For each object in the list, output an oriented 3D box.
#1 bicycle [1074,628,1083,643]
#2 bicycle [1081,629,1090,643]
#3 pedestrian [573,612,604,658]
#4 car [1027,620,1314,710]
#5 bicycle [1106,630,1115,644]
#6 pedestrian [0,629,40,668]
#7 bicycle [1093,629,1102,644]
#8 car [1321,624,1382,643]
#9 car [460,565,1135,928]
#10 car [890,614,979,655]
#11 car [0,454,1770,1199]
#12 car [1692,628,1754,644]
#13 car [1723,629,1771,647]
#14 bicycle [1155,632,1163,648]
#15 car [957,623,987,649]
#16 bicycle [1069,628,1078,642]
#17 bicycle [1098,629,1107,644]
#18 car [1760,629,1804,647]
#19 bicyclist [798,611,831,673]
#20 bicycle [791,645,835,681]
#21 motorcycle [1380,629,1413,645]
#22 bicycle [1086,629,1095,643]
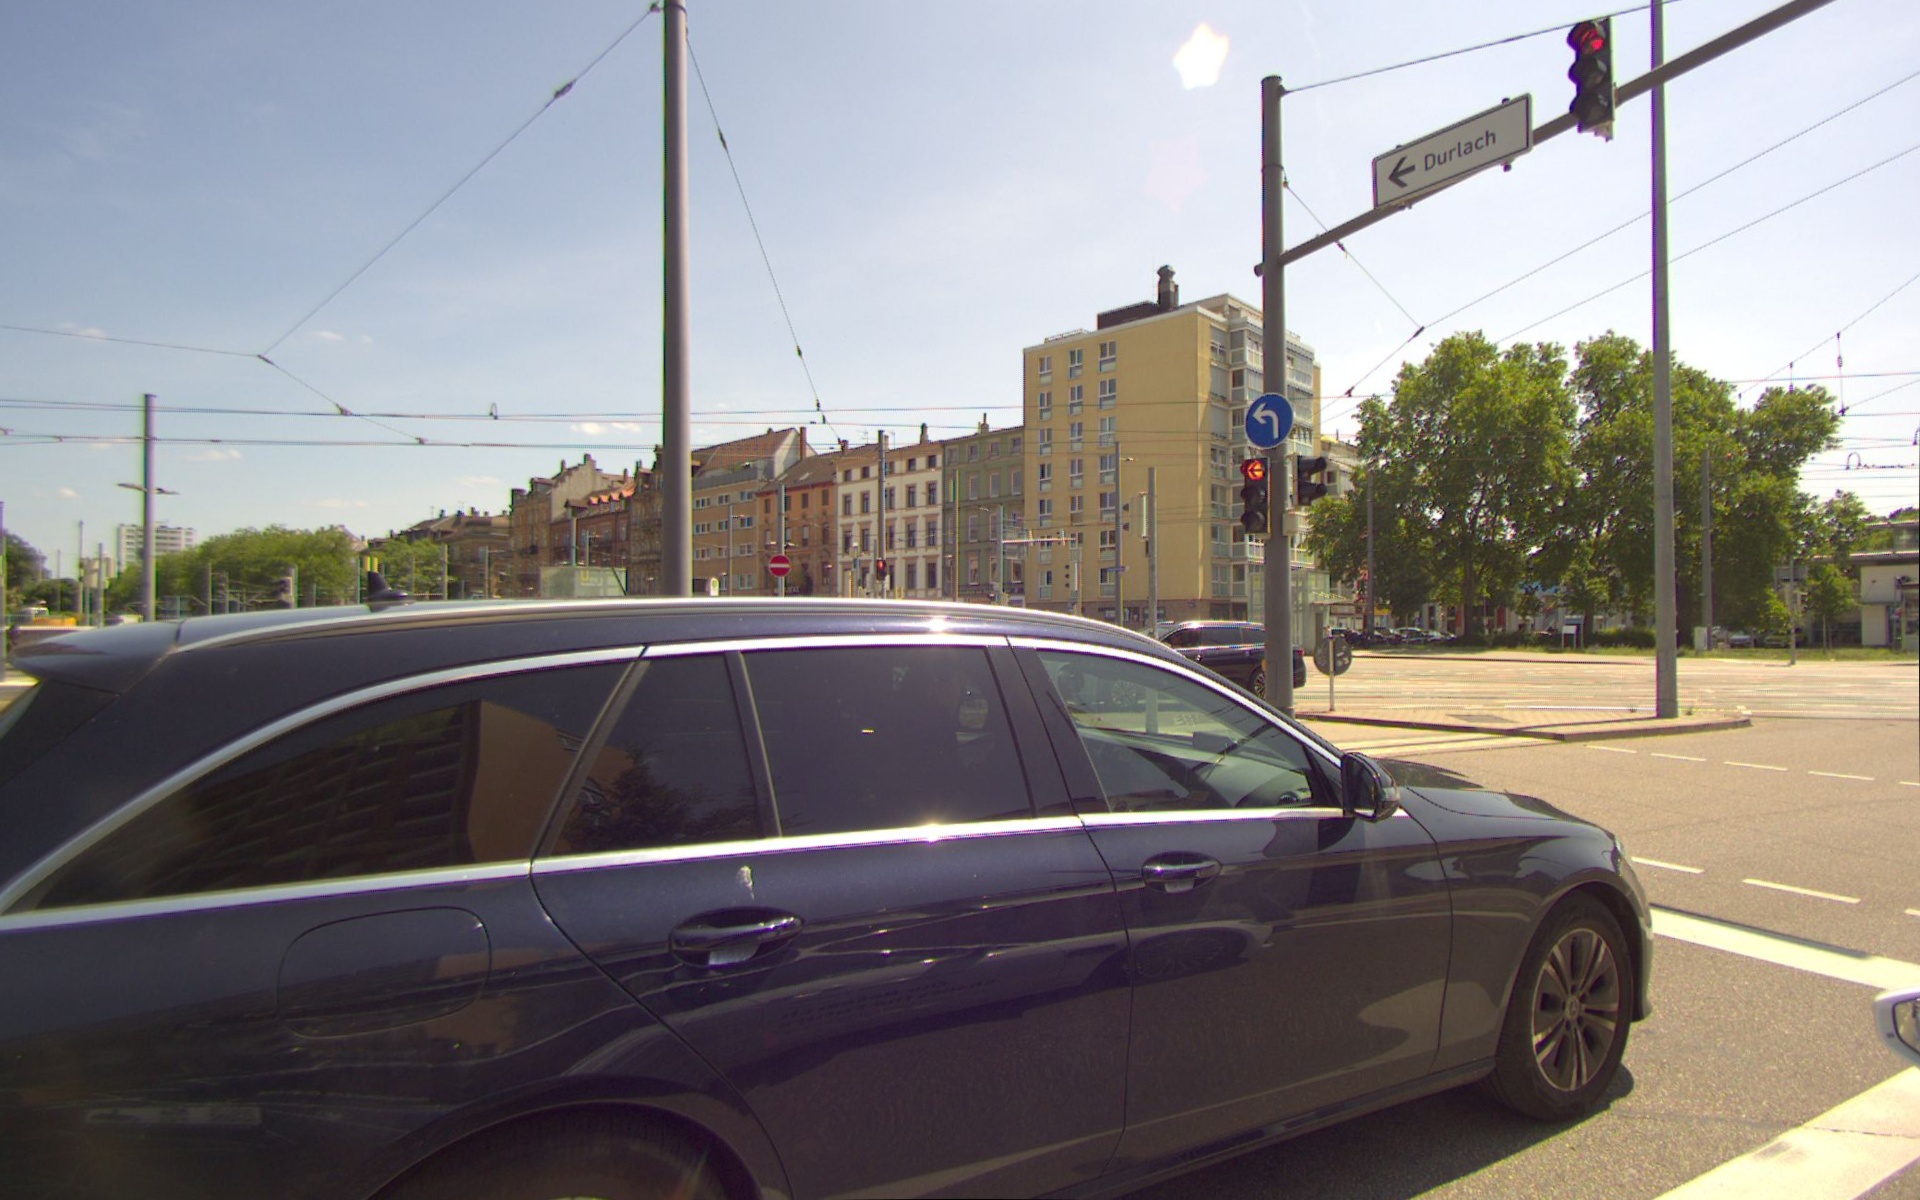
[{"bbox_3d":[8.763,2.614,74.054,0.424,1.040,1.445,0,-1,16],"label":"bicycle"},{"bbox_3d":[9.190,2.626,73.617,0.424,1.040,1.445,0,-1,16],"label":"bicycle"},{"bbox_3d":[-15.122,1.424,40.908,1.114,1.837,0.677,-1,-2,38],"label":"pedestrian"},{"bbox_3d":[3.791,1.130,18.310,4.765,1.484,1.994,1,-1,-15],"label":"car"},{"bbox_3d":[10.827,2.670,72.356,0.424,1.040,1.445,0,-1,16],"label":"bicycle"},{"bbox_3d":[-33.020,1.712,35.264,0.978,1.352,0.527,0,-1,2],"label":"pedestrian"},{"bbox_3d":[9.993,2.648,73.012,0.424,1.040,1.445,0,-1,16],"label":"bicycle"},{"bbox_3d":[29.647,2.523,76.125,3.941,1.439,1.990,-1,-2,41],"label":"car"},{"bbox_3d":[-0.932,0.690,6.101,3.692,1.597,1.736,1,-2,-30],"label":"car"},{"bbox_3d":[-1.420,1.839,54.084,4.804,2.084,1.988,-1,-2,43],"label":"car"},{"bbox_3d":[0.163,0.690,2.911,4.747,1.662,1.789,1,0,-30],"label":"car"},{"bbox_3d":[70.928,3.325,93.420,4.245,1.530,1.771,-1,-2,26],"label":"car"},{"bbox_3d":[68.299,3.242,87.143,4.274,1.530,1.759,1,-2,-29],"label":"car"},{"bbox_3d":[13.681,2.743,69.180,0.424,1.040,1.445,0,-1,16],"label":"bicycle"},{"bbox_3d":[0.805,2.517,70.625,1.803,1.773,3.998,0,-1,-4],"label":"car"},{"bbox_3d":[8.421,2.606,74.393,0.424,1.040,1.445,0,-1,16],"label":"bicycle"},{"bbox_3d":[10.309,2.655,72.615,0.424,1.040,1.445,0,-1,16],"label":"bicycle"},{"bbox_3d":[69.194,3.168,84.532,4.283,1.530,1.756,1,-2,-35],"label":"car"},{"bbox_3d":[-3.817,1.083,26.292,0.433,1.549,1.245,2,0,-26],"label":"bicyclist"},{"bbox_3d":[-3.889,1.642,26.437,0.620,0.866,1.887,1,-2,-26],"label":"bicycle"},{"bbox_3d":[27.643,2.356,63.581,1.887,0.974,0.524,-1,-1,31],"label":"motorcycle"},{"bbox_3d":[9.551,2.635,73.309,0.424,1.040,1.445,0,-1,16],"label":"bicycle"}]
